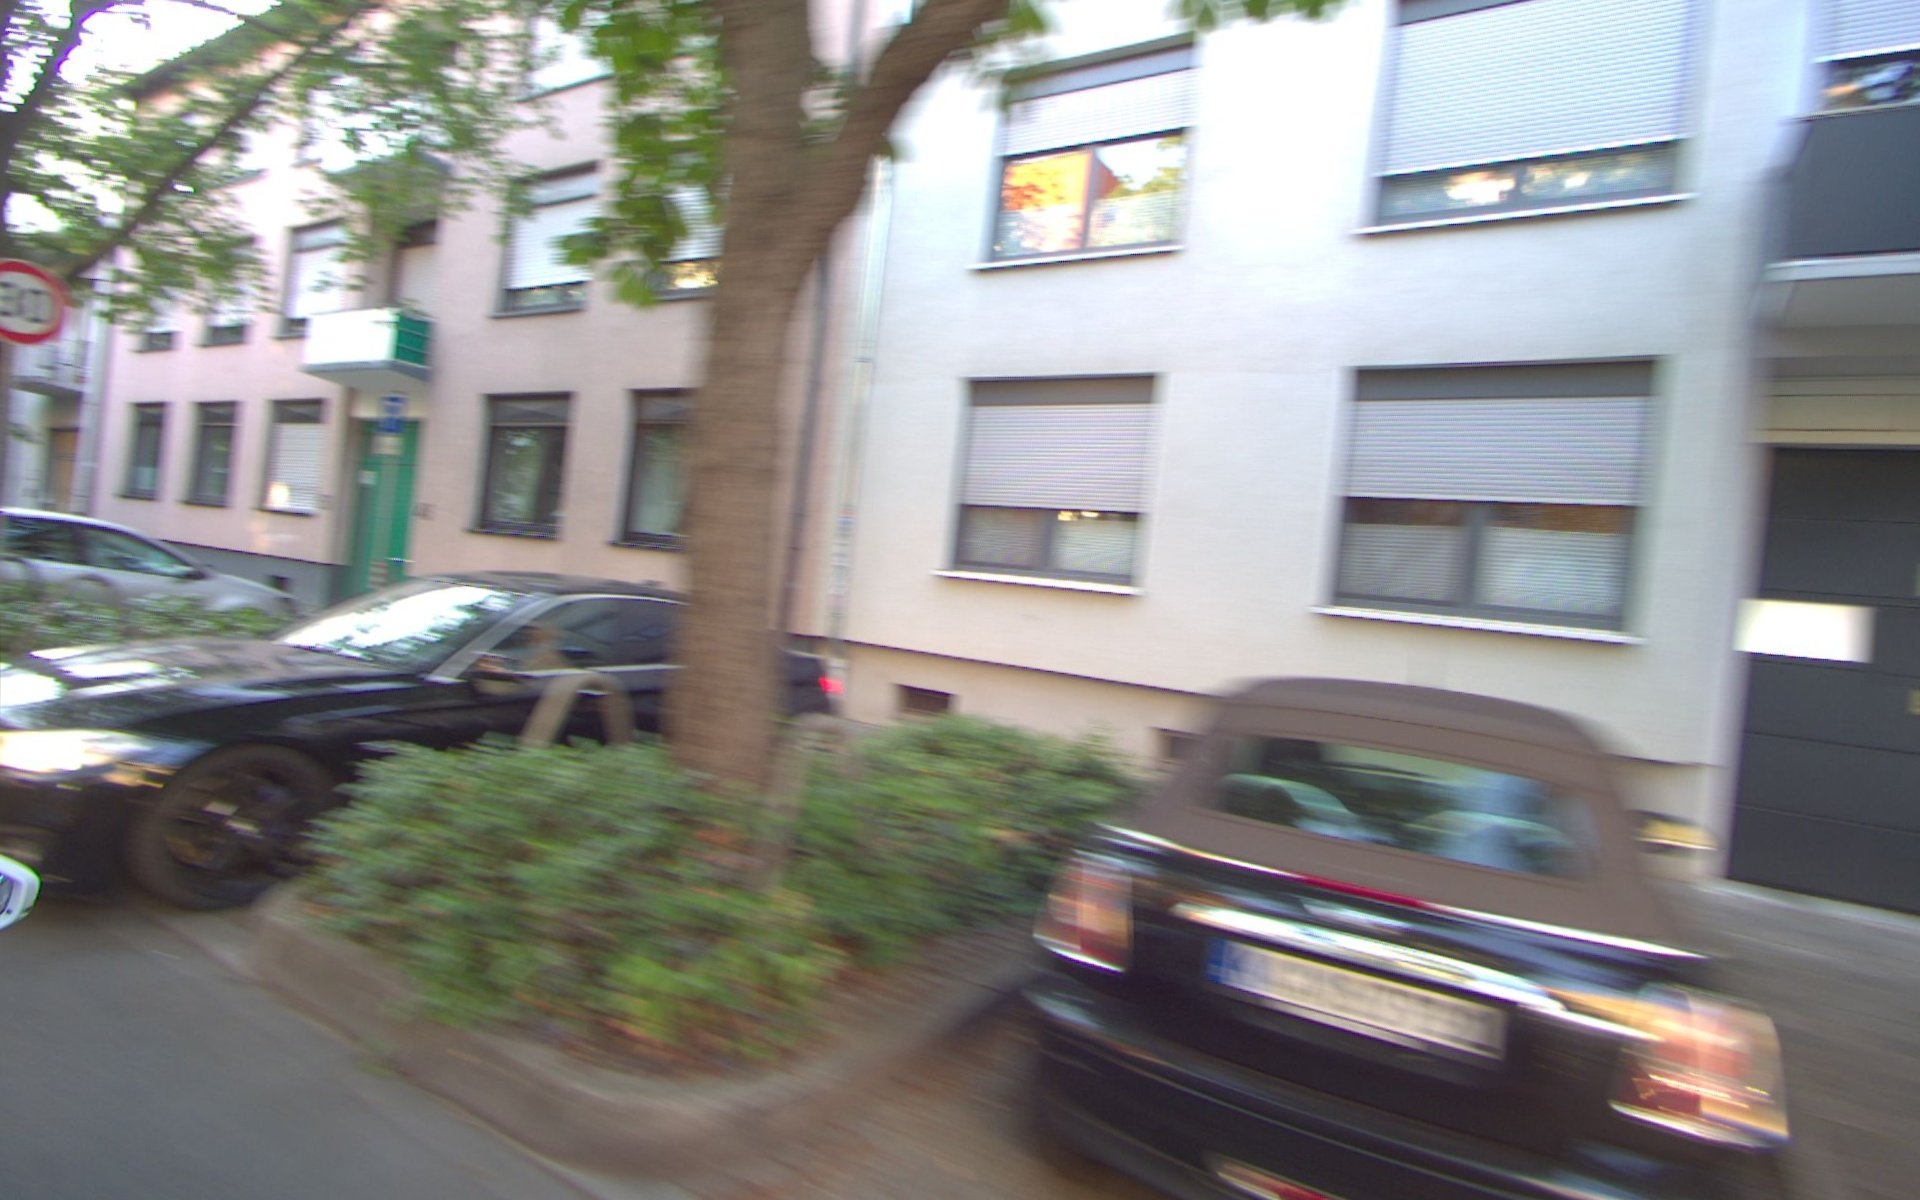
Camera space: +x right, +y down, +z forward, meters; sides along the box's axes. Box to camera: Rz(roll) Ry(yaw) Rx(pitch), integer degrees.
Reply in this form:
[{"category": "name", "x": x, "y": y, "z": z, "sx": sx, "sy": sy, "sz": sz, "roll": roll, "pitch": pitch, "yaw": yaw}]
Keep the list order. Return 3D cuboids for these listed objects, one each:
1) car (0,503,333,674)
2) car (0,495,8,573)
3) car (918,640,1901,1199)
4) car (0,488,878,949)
[{"category": "car", "x": -9.111, "y": -0.134, "z": 10.333, "sx": 1.767, "sy": 1.508, "sz": 4.090, "roll": 6, "pitch": -1, "yaw": 29}, {"category": "car", "x": -20.409, "y": -1.460, "z": 17.792, "sx": 2.009, "sy": 1.467, "sz": 4.839, "roll": 6, "pitch": 1, "yaw": 34}, {"category": "car", "x": 1.580, "y": 1.000, "z": 3.738, "sx": 1.683, "sy": 1.428, "sz": 3.842, "roll": 6, "pitch": 0, "yaw": 27}, {"category": "car", "x": -2.765, "y": 0.505, "z": 5.731, "sx": 1.955, "sy": 1.515, "sz": 4.881, "roll": 6, "pitch": -1, "yaw": 32}]
